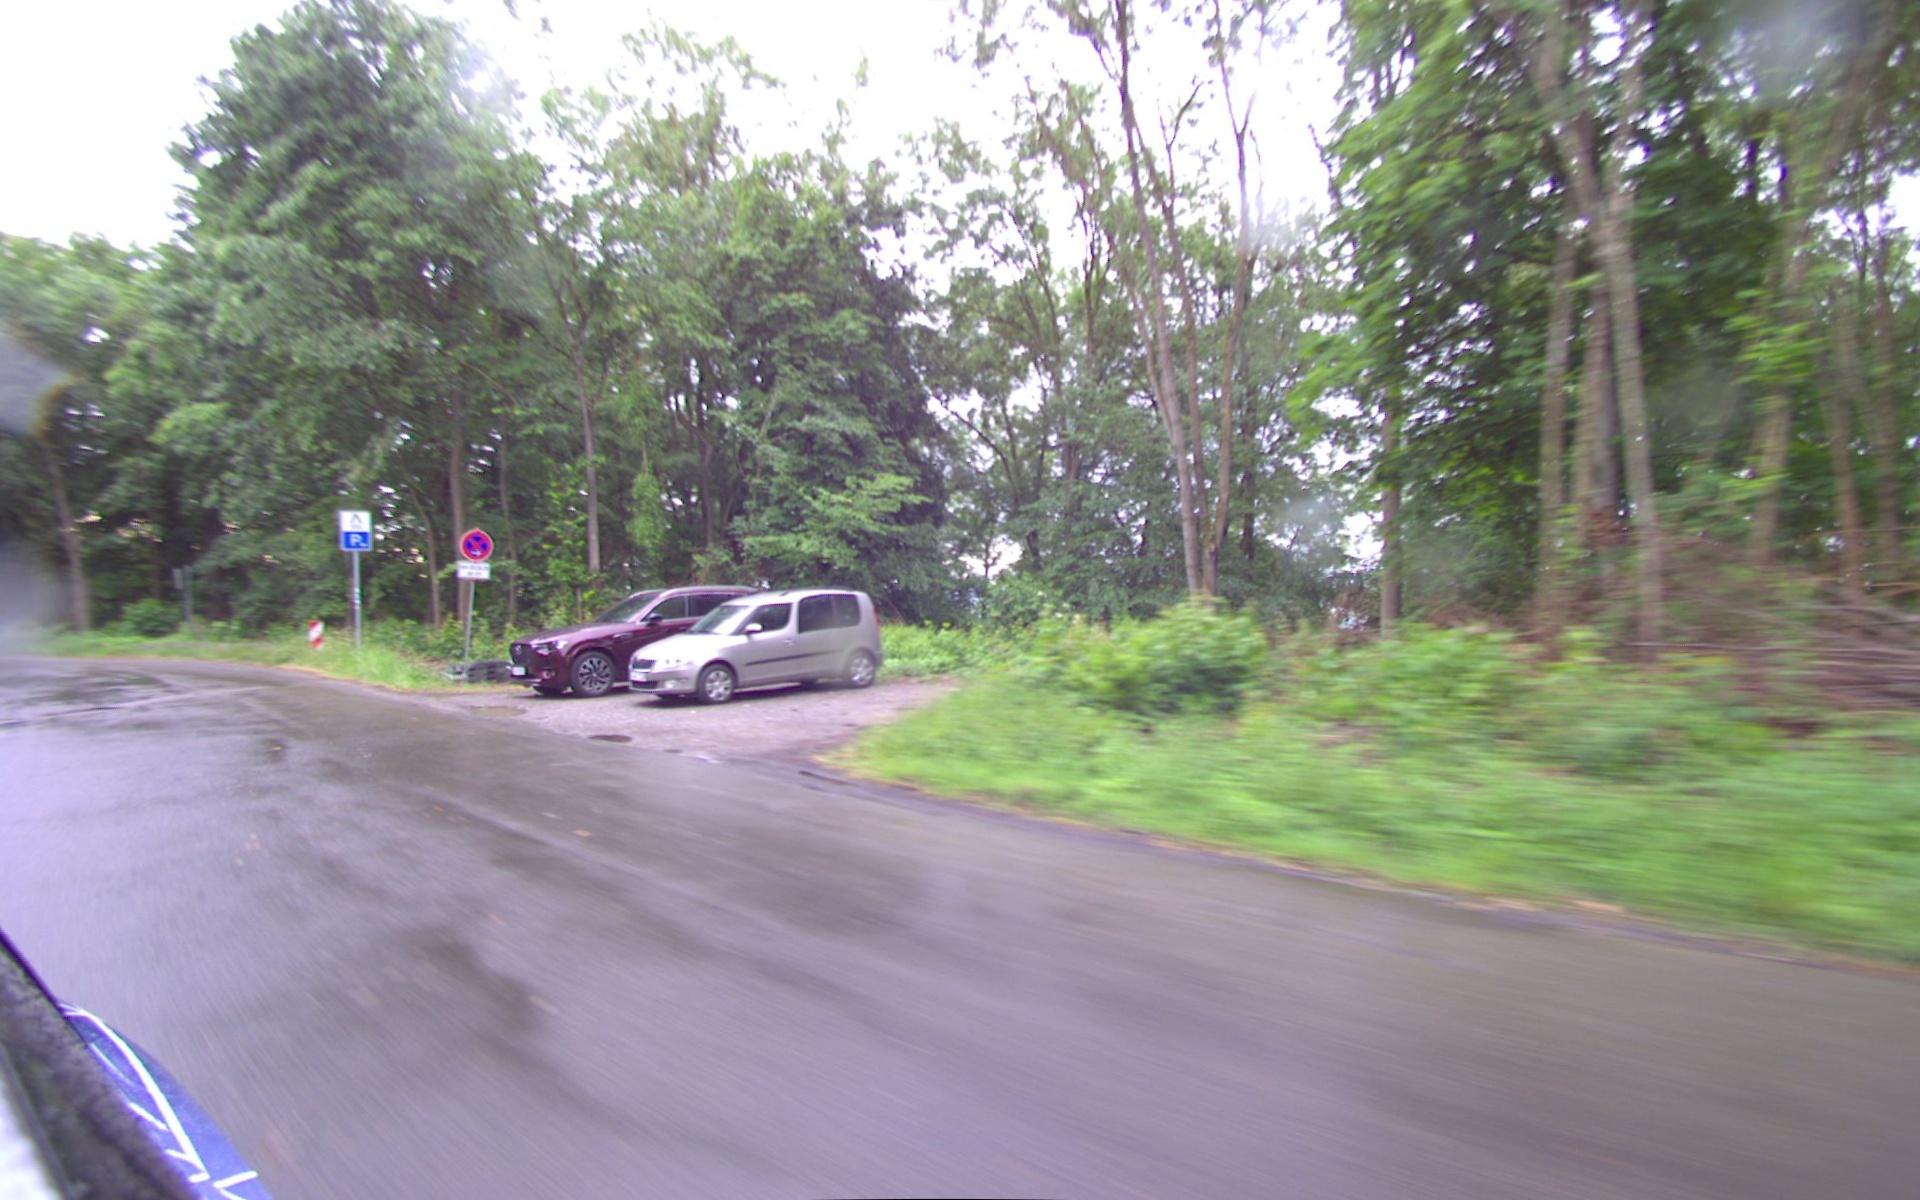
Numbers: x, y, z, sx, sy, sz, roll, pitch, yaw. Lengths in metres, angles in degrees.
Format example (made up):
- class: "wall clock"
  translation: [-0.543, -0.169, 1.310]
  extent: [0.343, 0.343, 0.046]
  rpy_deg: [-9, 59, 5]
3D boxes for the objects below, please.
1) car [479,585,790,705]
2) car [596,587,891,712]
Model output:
- class: "car"
  translation: [-5.502, 0.681, 17.592]
  extent: [4.769, 1.690, 1.877]
  rpy_deg: [-3, 0, -44]
- class: "car"
  translation: [-3.239, 0.679, 15.668]
  extent: [4.087, 1.566, 1.775]
  rpy_deg: [-3, 0, -43]
